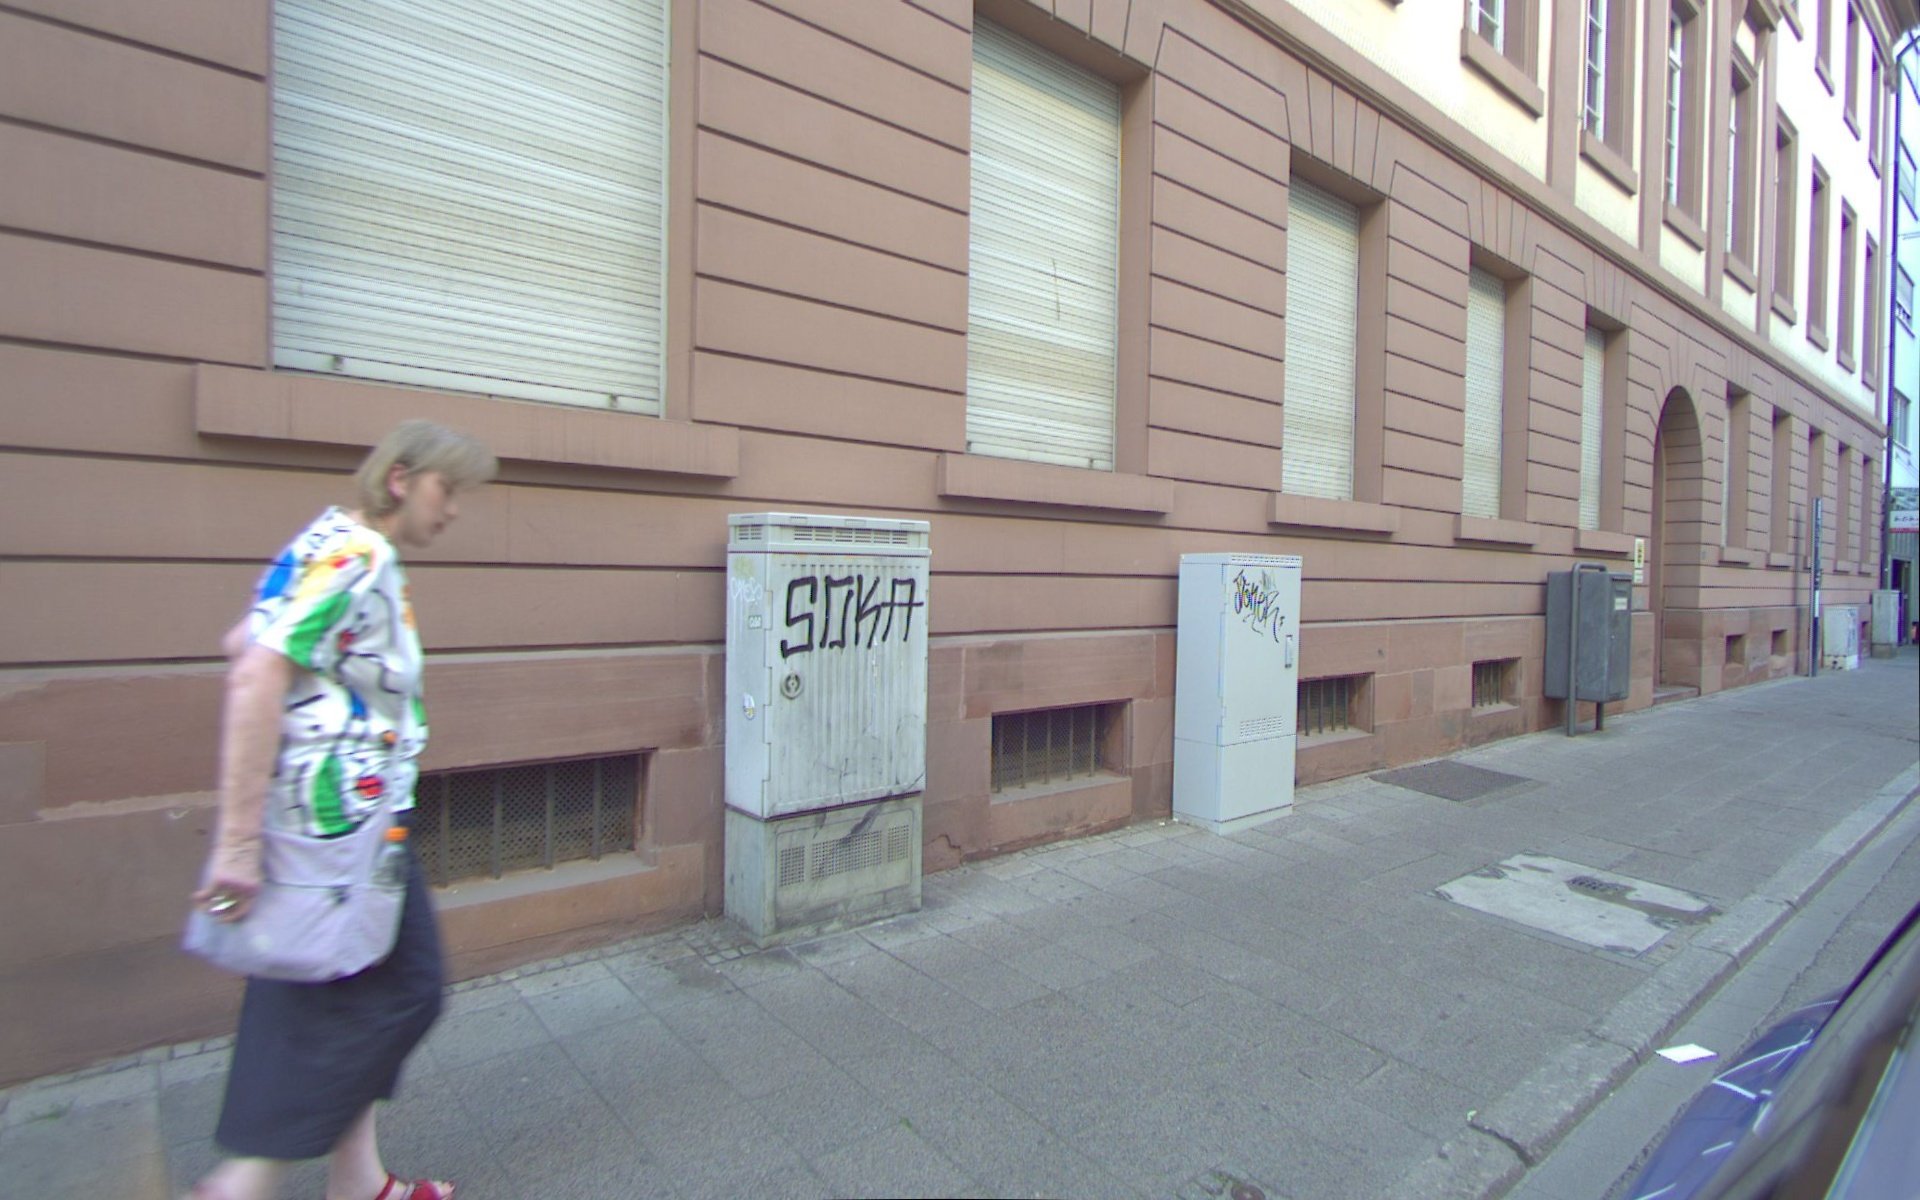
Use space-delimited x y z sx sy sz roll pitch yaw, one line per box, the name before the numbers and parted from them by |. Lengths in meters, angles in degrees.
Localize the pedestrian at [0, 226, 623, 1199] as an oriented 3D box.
pedestrian | -1.281 0.345 2.084 0.880 1.825 0.848 0 4 -35
